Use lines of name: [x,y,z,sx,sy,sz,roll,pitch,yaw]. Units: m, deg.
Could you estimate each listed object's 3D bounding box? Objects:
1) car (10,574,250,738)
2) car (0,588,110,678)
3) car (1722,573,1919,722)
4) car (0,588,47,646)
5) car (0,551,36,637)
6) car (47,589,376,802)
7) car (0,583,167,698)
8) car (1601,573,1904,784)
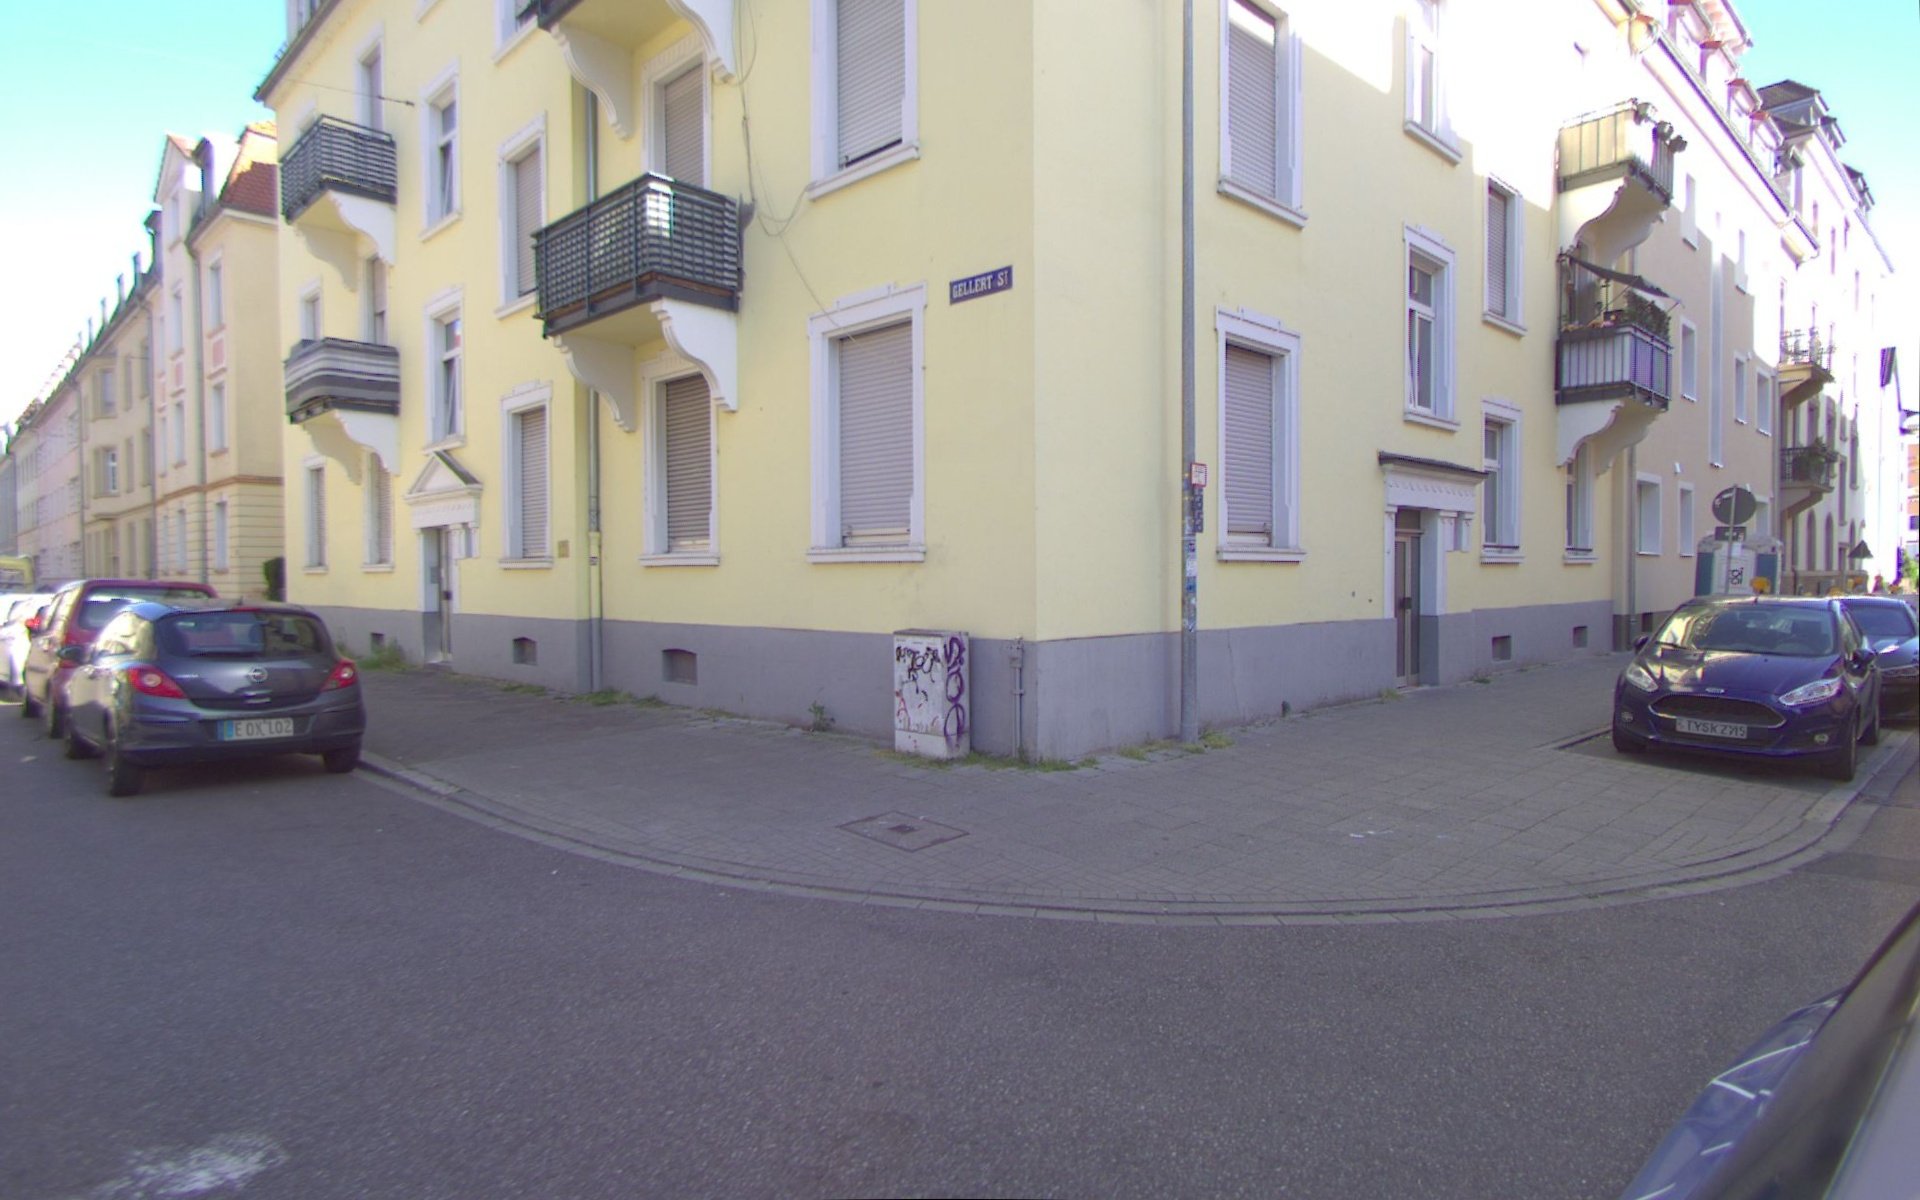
car: [-9.833,0.541,11.903,3.620,1.620,1.667,1,0,42]
car: [-16.671,0.526,18.165,3.852,1.452,1.667,1,0,42]
car: [11.464,0.435,12.848,5.023,1.488,1.805,-1,4,-41]
car: [-25.584,0.402,26.817,3.852,1.452,1.667,1,0,42]
car: [-29.583,-0.209,30.570,4.909,2.474,1.995,1,0,42]
car: [-6.737,0.662,8.975,3.620,1.486,1.667,1,0,42]
car: [-13.227,0.506,15.019,3.852,1.490,1.667,1,0,42]
car: [7.624,0.531,9.588,1.764,1.488,4.020,4,4,44]
